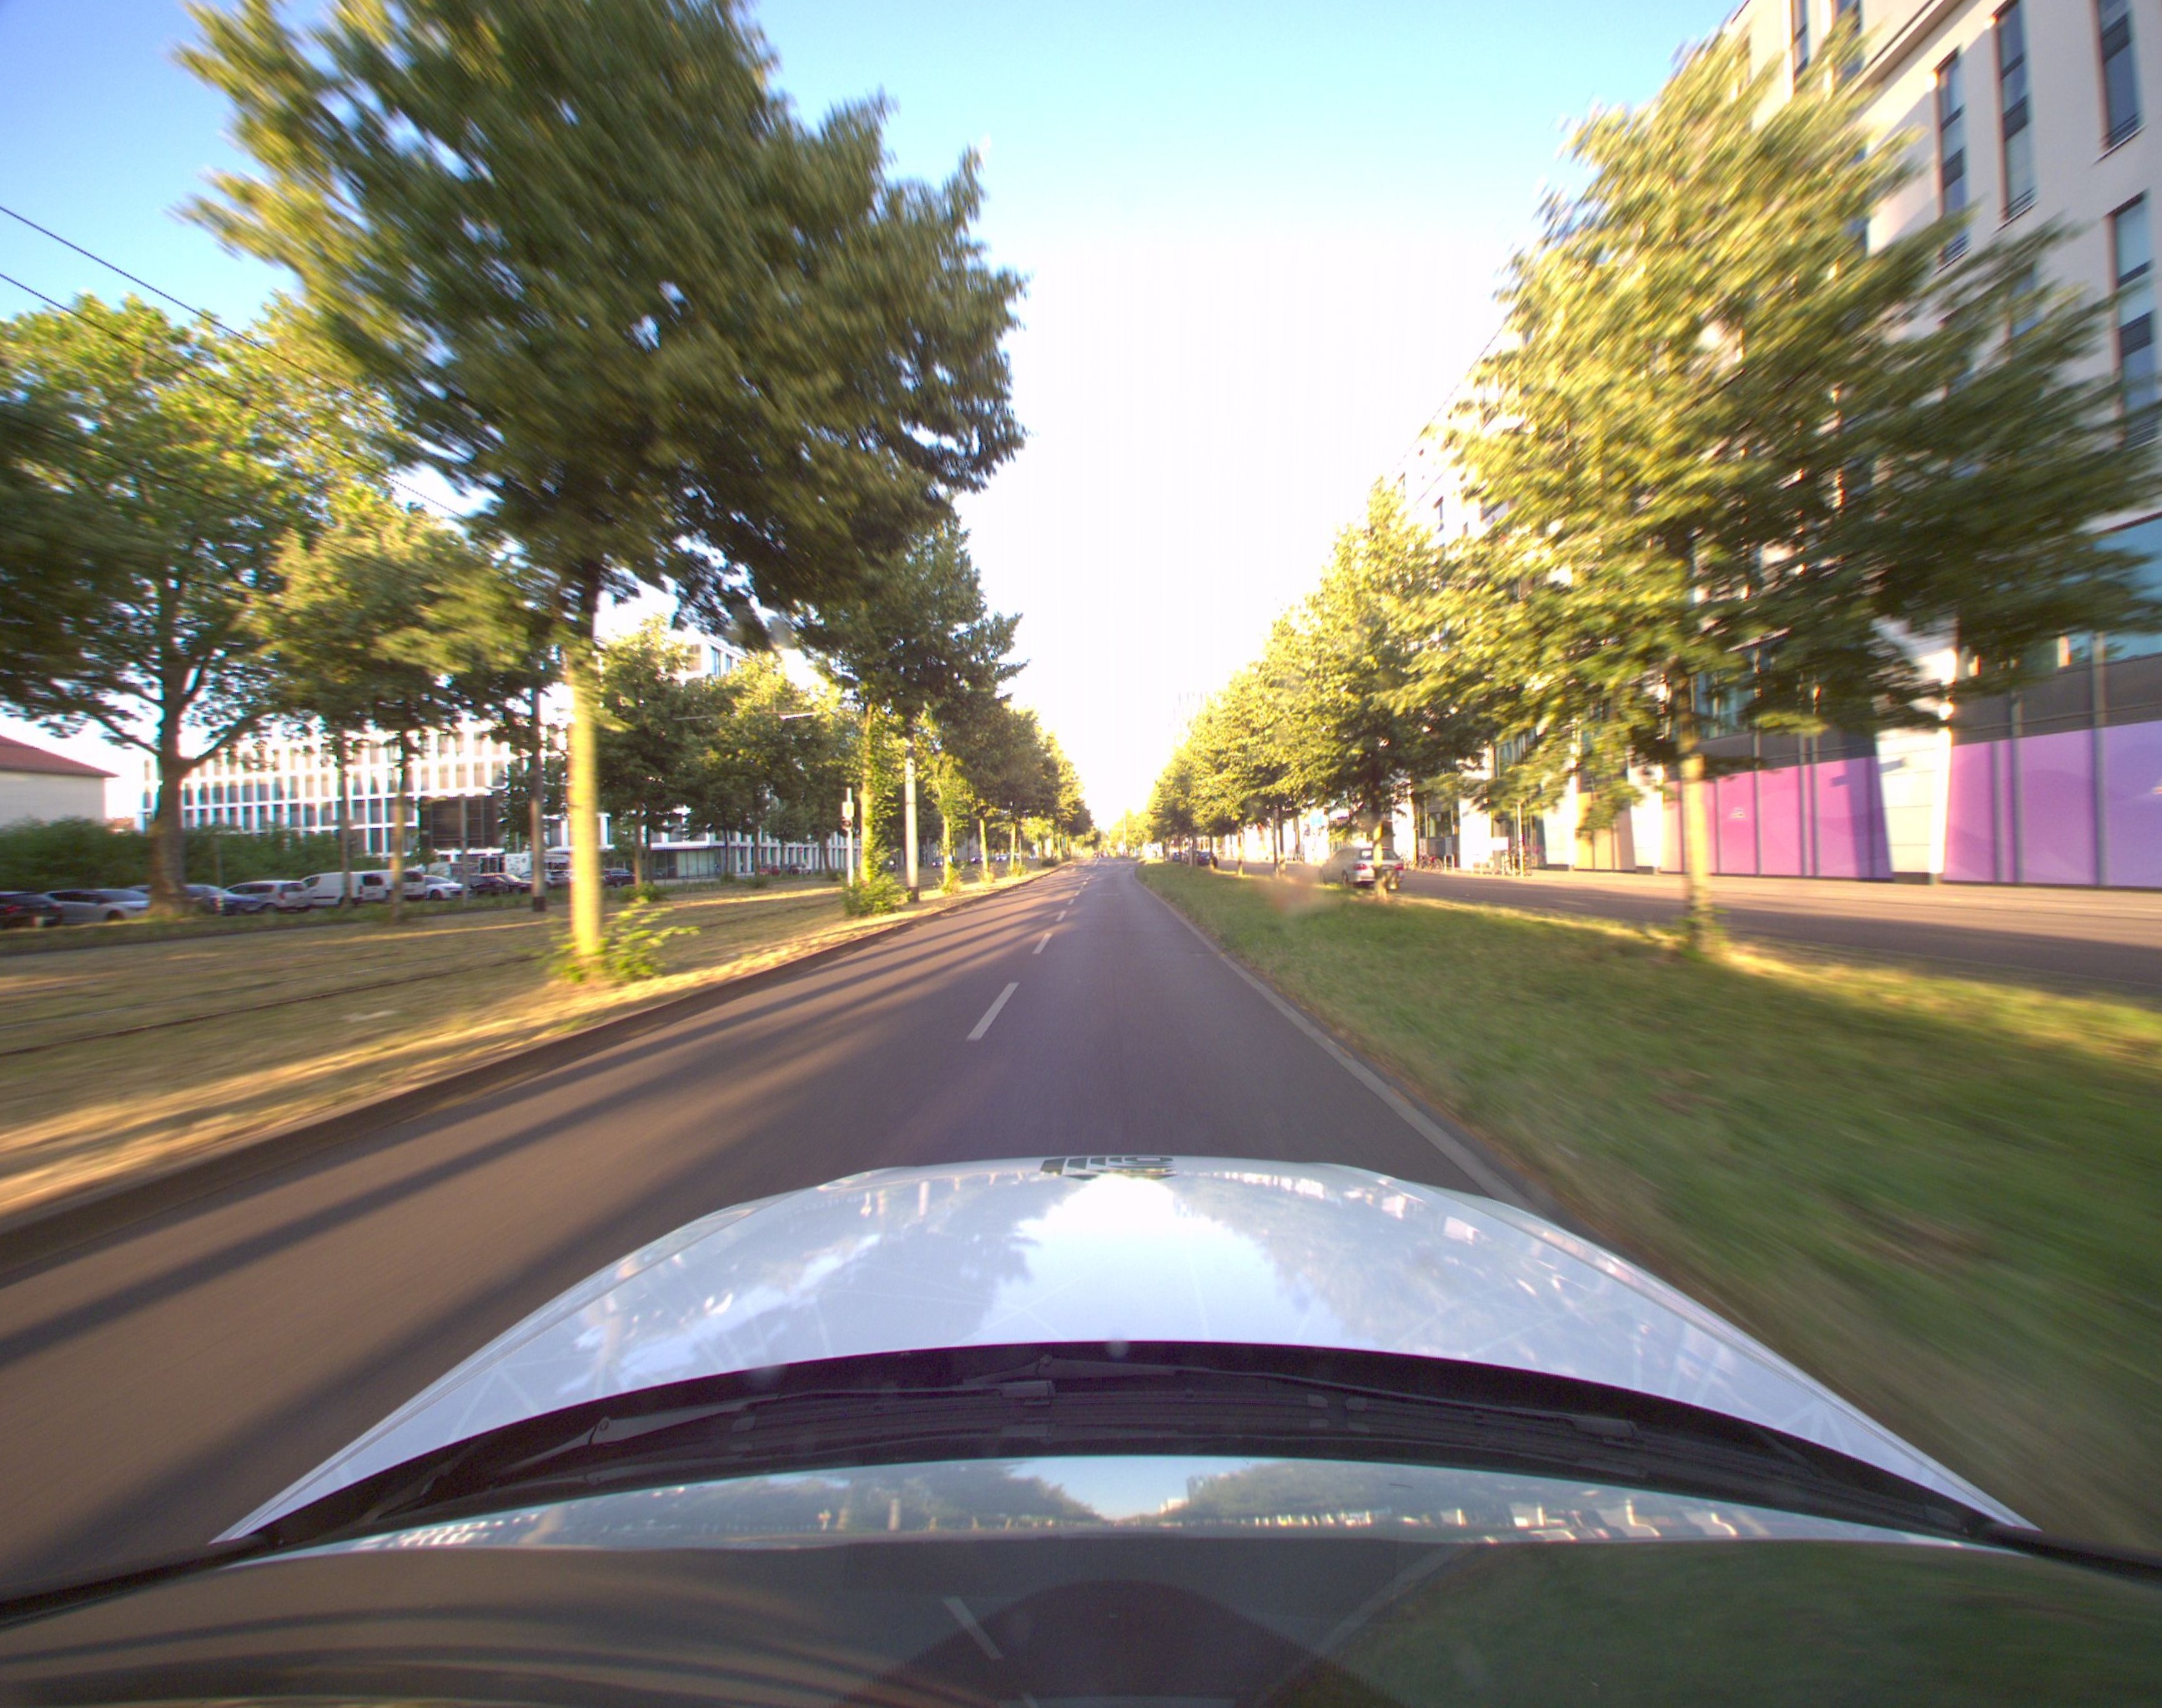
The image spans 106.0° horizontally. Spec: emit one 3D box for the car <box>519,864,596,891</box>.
[{"bbox_3d":[-35.902,1.596,55.929,3.976,1.640,1.921,-1,0,-2],"label":"car"}]

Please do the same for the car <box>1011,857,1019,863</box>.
[{"bbox_3d":[-16.152,1.445,199.814,1.770,1.411,3.708,-1,0,0],"label":"car"}]

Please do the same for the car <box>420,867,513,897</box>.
[{"bbox_3d":[-36.460,1.641,48.389,3.976,1.640,1.921,-1,0,-2],"label":"car"}]

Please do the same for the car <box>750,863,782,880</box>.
[{"bbox_3d":[-33.026,1.814,85.533,1.852,1.581,3.494,-1,0,2],"label":"car"}]

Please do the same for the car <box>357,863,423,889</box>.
[{"bbox_3d":[-58.669,1.817,69.242,1.986,2.013,4.002,-2,0,2],"label":"car"}]

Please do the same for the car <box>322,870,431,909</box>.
[{"bbox_3d":[-37.112,1.852,42.978,3.972,1.844,2.013,-1,0,2],"label":"car"}]

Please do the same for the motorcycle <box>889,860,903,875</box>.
[{"bbox_3d":[-17.219,1.229,75.659,0.679,1.336,2.345,-2,0,1],"label":"motorcycle"}]

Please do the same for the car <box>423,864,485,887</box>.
[{"bbox_3d":[-52.994,1.776,68.881,1.907,1.811,4.006,-1,0,5],"label":"car"}]

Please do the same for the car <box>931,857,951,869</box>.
[{"bbox_3d":[-19.109,1.183,111.458,1.911,1.508,4.288,-2,0,1],"label":"car"}]

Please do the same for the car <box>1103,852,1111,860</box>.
[{"bbox_3d":[6.644,0.529,209.144,1.987,2.013,4.001,-1,0,1],"label":"car"}]

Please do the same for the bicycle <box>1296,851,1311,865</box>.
[{"bbox_3d":[17.841,0.329,65.329,0.650,1.039,2.056,-1,0,2],"label":"bicycle"}]

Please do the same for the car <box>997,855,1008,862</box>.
[{"bbox_3d":[-14.840,0.870,154.623,1.651,1.332,4.529,-2,0,0],"label":"car"}]

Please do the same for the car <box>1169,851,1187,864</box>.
[{"bbox_3d":[11.701,0.455,98.456,1.718,1.529,4.269,0,0,1],"label":"car"}]

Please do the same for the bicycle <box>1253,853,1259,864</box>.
[{"bbox_3d":[18.456,0.442,85.748,0.567,1.124,1.840,-3,0,13],"label":"bicycle"}]

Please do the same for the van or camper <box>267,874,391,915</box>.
[{"bbox_3d":[-36.822,1.957,39.975,3.986,1.791,1.994,-2,0,-9],"label":"van or camper"}]

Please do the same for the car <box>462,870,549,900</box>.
[{"bbox_3d":[-36.012,1.928,51.053,3.976,1.640,1.921,-1,0,-2],"label":"car"}]

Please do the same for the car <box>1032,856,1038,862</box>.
[{"bbox_3d":[-13.202,1.412,234.633,1.800,1.546,3.531,-1,0,-3],"label":"car"}]

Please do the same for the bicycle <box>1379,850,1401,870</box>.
[{"bbox_3d":[17.303,0.322,45.704,0.531,1.061,1.858,-3,0,2],"label":"bicycle"}]

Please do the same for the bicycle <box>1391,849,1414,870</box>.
[{"bbox_3d":[17.823,0.293,45.133,0.531,1.061,1.858,-3,0,2],"label":"bicycle"}]

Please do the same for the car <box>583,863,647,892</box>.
[{"bbox_3d":[-36.002,1.780,63.024,1.986,2.013,4.933,-2,0,1],"label":"car"}]

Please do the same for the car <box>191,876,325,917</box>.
[{"bbox_3d":[-37.281,1.914,36.970,3.976,1.640,1.921,-1,0,-2],"label":"car"}]

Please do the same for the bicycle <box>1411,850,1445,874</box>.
[{"bbox_3d":[16.569,0.371,38.928,0.533,1.061,1.850,-3,0,-11],"label":"bicycle"}]

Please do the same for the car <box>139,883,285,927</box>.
[{"bbox_3d":[-36.791,2.120,34.572,3.976,1.640,1.921,-1,0,-2],"label":"car"}]

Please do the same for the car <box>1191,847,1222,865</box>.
[{"bbox_3d":[11.139,0.161,72.558,1.937,1.549,4.810,-2,0,0],"label":"car"}]

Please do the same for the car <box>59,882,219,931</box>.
[{"bbox_3d":[-36.221,1.999,31.380,3.970,1.640,1.924,-1,0,3],"label":"car"}]

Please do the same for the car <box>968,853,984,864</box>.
[{"bbox_3d":[-16.497,0.723,128.030,1.879,1.578,4.182,-2,0,0],"label":"car"}]

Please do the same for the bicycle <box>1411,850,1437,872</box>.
[{"bbox_3d":[16.979,0.341,40.325,0.531,1.061,1.858,-3,0,2],"label":"bicycle"}]

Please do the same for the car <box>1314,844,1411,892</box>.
[{"bbox_3d":[9.784,0.445,28.725,1.802,1.501,4.826,-1,0,1],"label":"car"}]

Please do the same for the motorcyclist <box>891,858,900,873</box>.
[{"bbox_3d":[-17.215,1.043,75.574,0.678,1.375,0.804,-2,0,0],"label":"motorcyclist"}]

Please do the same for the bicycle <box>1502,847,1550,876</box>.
[{"bbox_3d":[17.441,0.298,31.964,0.533,1.061,1.850,-3,0,-11],"label":"bicycle"}]

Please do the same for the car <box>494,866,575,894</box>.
[{"bbox_3d":[-35.898,1.701,53.564,3.976,1.640,1.921,-1,0,-2],"label":"car"}]

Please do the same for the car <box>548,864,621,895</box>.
[{"bbox_3d":[-35.929,1.825,58.981,3.976,2.013,1.999,-2,0,-2],"label":"car"}]

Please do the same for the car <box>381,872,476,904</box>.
[{"bbox_3d":[-36.617,1.893,45.762,3.964,1.640,1.927,-1,0,8],"label":"car"}]

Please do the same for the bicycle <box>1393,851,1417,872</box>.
[{"bbox_3d":[17.149,0.372,43.099,0.531,1.061,1.858,-3,0,2],"label":"bicycle"}]

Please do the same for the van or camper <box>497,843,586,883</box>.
[{"bbox_3d":[-43.913,0.684,66.546,2.697,3.085,6.272,-1,0,5],"label":"van or camper"}]

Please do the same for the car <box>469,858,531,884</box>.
[{"bbox_3d":[-47.283,1.353,66.365,1.986,2.013,4.002,-2,0,2],"label":"car"}]

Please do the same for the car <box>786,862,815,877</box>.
[{"bbox_3d":[-32.889,1.831,95.517,1.852,1.581,3.787,-1,0,2],"label":"car"}]

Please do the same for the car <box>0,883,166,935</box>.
[{"bbox_3d":[-35.671,1.944,29.057,3.970,1.640,1.924,-1,0,3],"label":"car"}]

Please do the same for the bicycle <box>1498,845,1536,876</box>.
[{"bbox_3d":[17.077,0.238,31.938,0.536,1.164,1.782,-3,0,2],"label":"bicycle"}]

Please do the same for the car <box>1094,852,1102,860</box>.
[{"bbox_3d":[4.700,0.570,225.549,2.080,2.013,4.001,-1,0,1],"label":"car"}]
